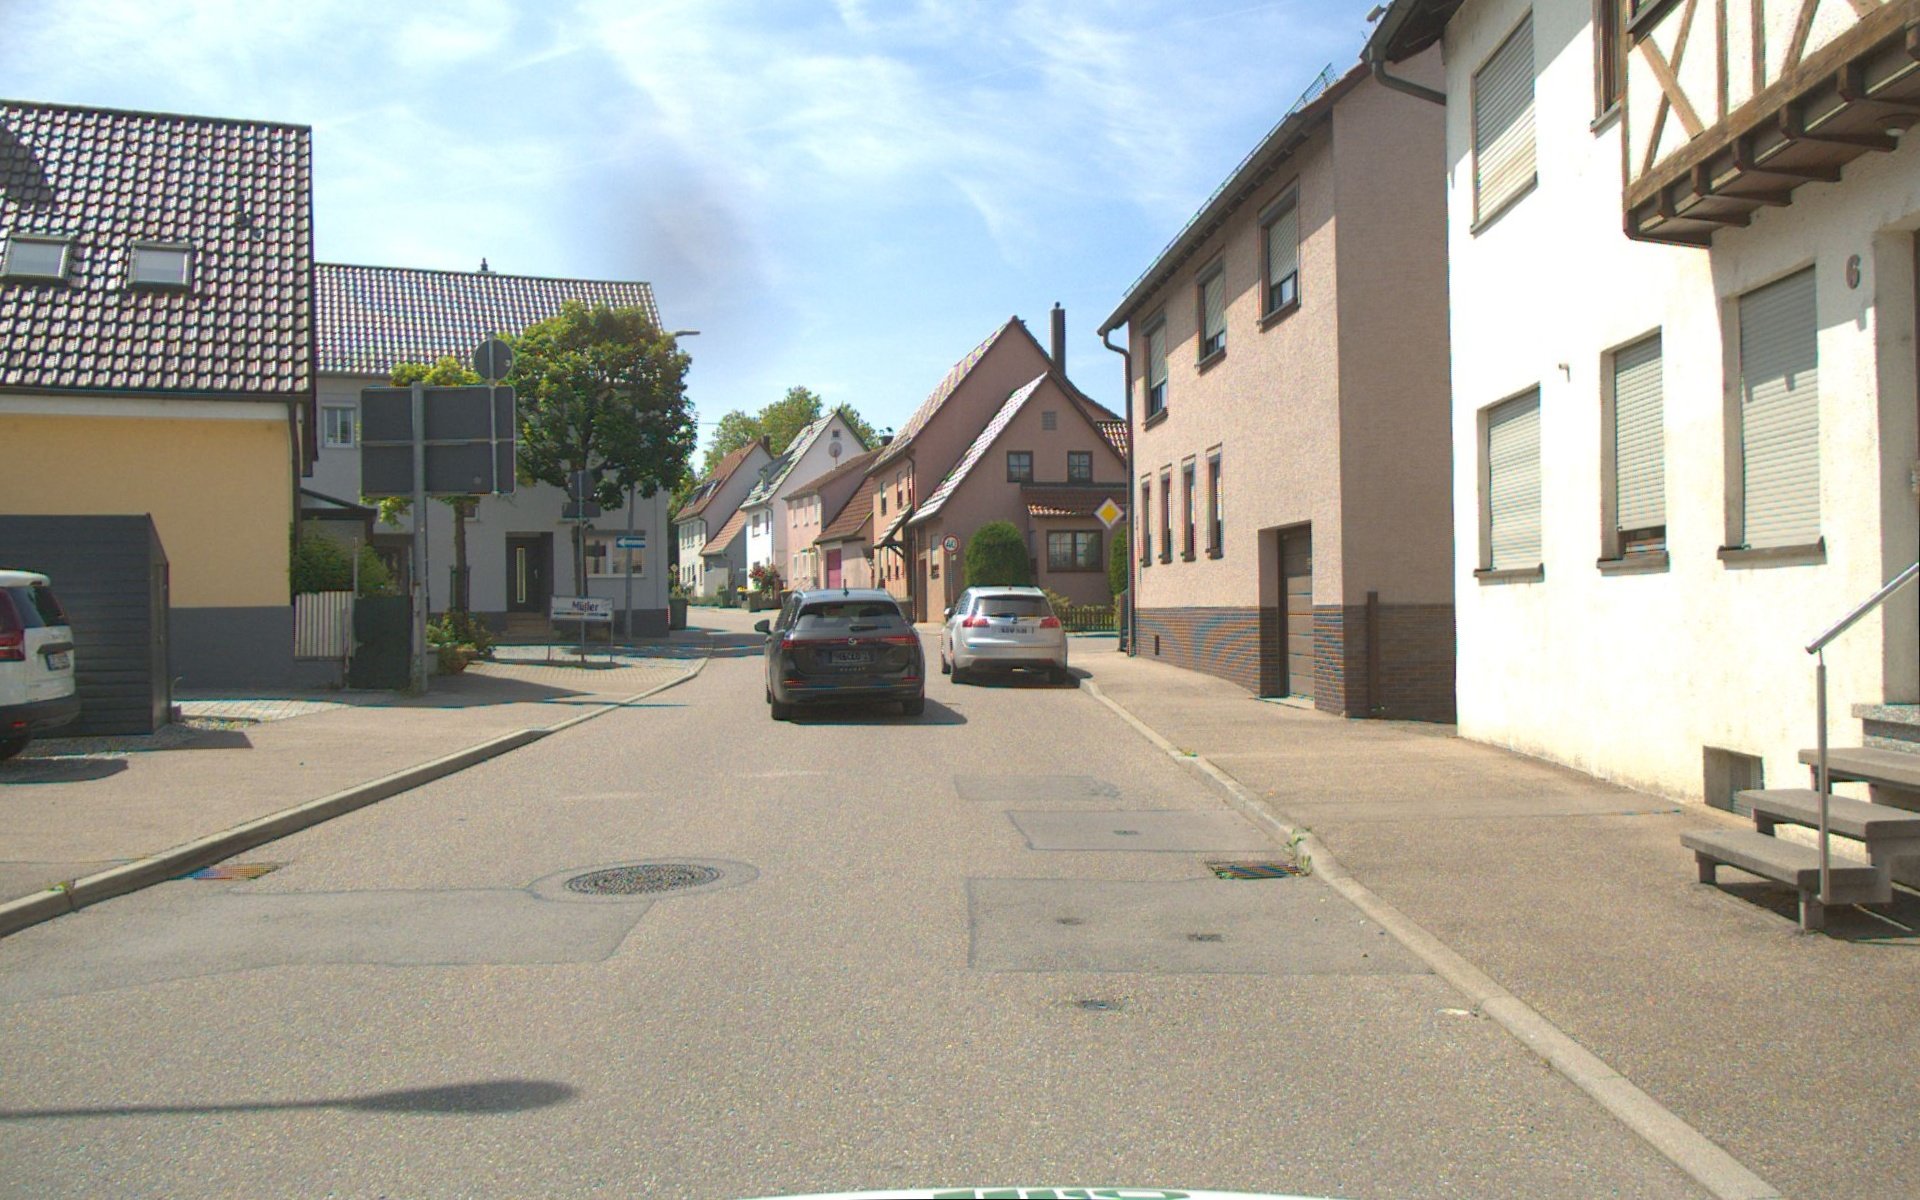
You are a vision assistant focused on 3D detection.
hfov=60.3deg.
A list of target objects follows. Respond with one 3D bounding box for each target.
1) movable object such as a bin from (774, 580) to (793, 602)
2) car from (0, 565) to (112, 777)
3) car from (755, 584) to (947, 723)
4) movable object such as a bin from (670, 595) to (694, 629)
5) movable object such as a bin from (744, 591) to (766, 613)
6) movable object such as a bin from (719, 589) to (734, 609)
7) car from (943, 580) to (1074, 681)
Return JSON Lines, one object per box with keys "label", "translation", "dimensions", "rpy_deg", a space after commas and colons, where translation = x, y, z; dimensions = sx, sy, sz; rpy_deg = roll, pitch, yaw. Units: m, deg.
{"label": "movable object such as a bin", "translation": [-9.132, -0.451, 85.699], "dimensions": [0.669, 1.068, 0.829], "rpy_deg": [-6, 2, -23]}
{"label": "car", "translation": [-9.553, 0.597, 13.434], "dimensions": [4.325, 1.651, 1.994], "rpy_deg": [-1, 0, -13]}
{"label": "car", "translation": [-1.445, 0.548, 20.100], "dimensions": [1.808, 1.445, 4.671], "rpy_deg": [-1, 1, -10]}
{"label": "movable object such as a bin", "translation": [-8.969, 0.376, 53.334], "dimensions": [0.740, 1.079, 0.677], "rpy_deg": [-1, 1, -13]}
{"label": "movable object such as a bin", "translation": [-10.703, 0.107, 86.295], "dimensions": [0.864, 1.093, 0.866], "rpy_deg": [-6, 2, -23]}
{"label": "movable object such as a bin", "translation": [-13.458, -0.052, 95.141], "dimensions": [0.669, 1.175, 0.814], "rpy_deg": [-1, 0, -23]}
{"label": "car", "translation": [0.698, 0.421, 26.599], "dimensions": [1.750, 1.467, 4.335], "rpy_deg": [-1, 1, -3]}
